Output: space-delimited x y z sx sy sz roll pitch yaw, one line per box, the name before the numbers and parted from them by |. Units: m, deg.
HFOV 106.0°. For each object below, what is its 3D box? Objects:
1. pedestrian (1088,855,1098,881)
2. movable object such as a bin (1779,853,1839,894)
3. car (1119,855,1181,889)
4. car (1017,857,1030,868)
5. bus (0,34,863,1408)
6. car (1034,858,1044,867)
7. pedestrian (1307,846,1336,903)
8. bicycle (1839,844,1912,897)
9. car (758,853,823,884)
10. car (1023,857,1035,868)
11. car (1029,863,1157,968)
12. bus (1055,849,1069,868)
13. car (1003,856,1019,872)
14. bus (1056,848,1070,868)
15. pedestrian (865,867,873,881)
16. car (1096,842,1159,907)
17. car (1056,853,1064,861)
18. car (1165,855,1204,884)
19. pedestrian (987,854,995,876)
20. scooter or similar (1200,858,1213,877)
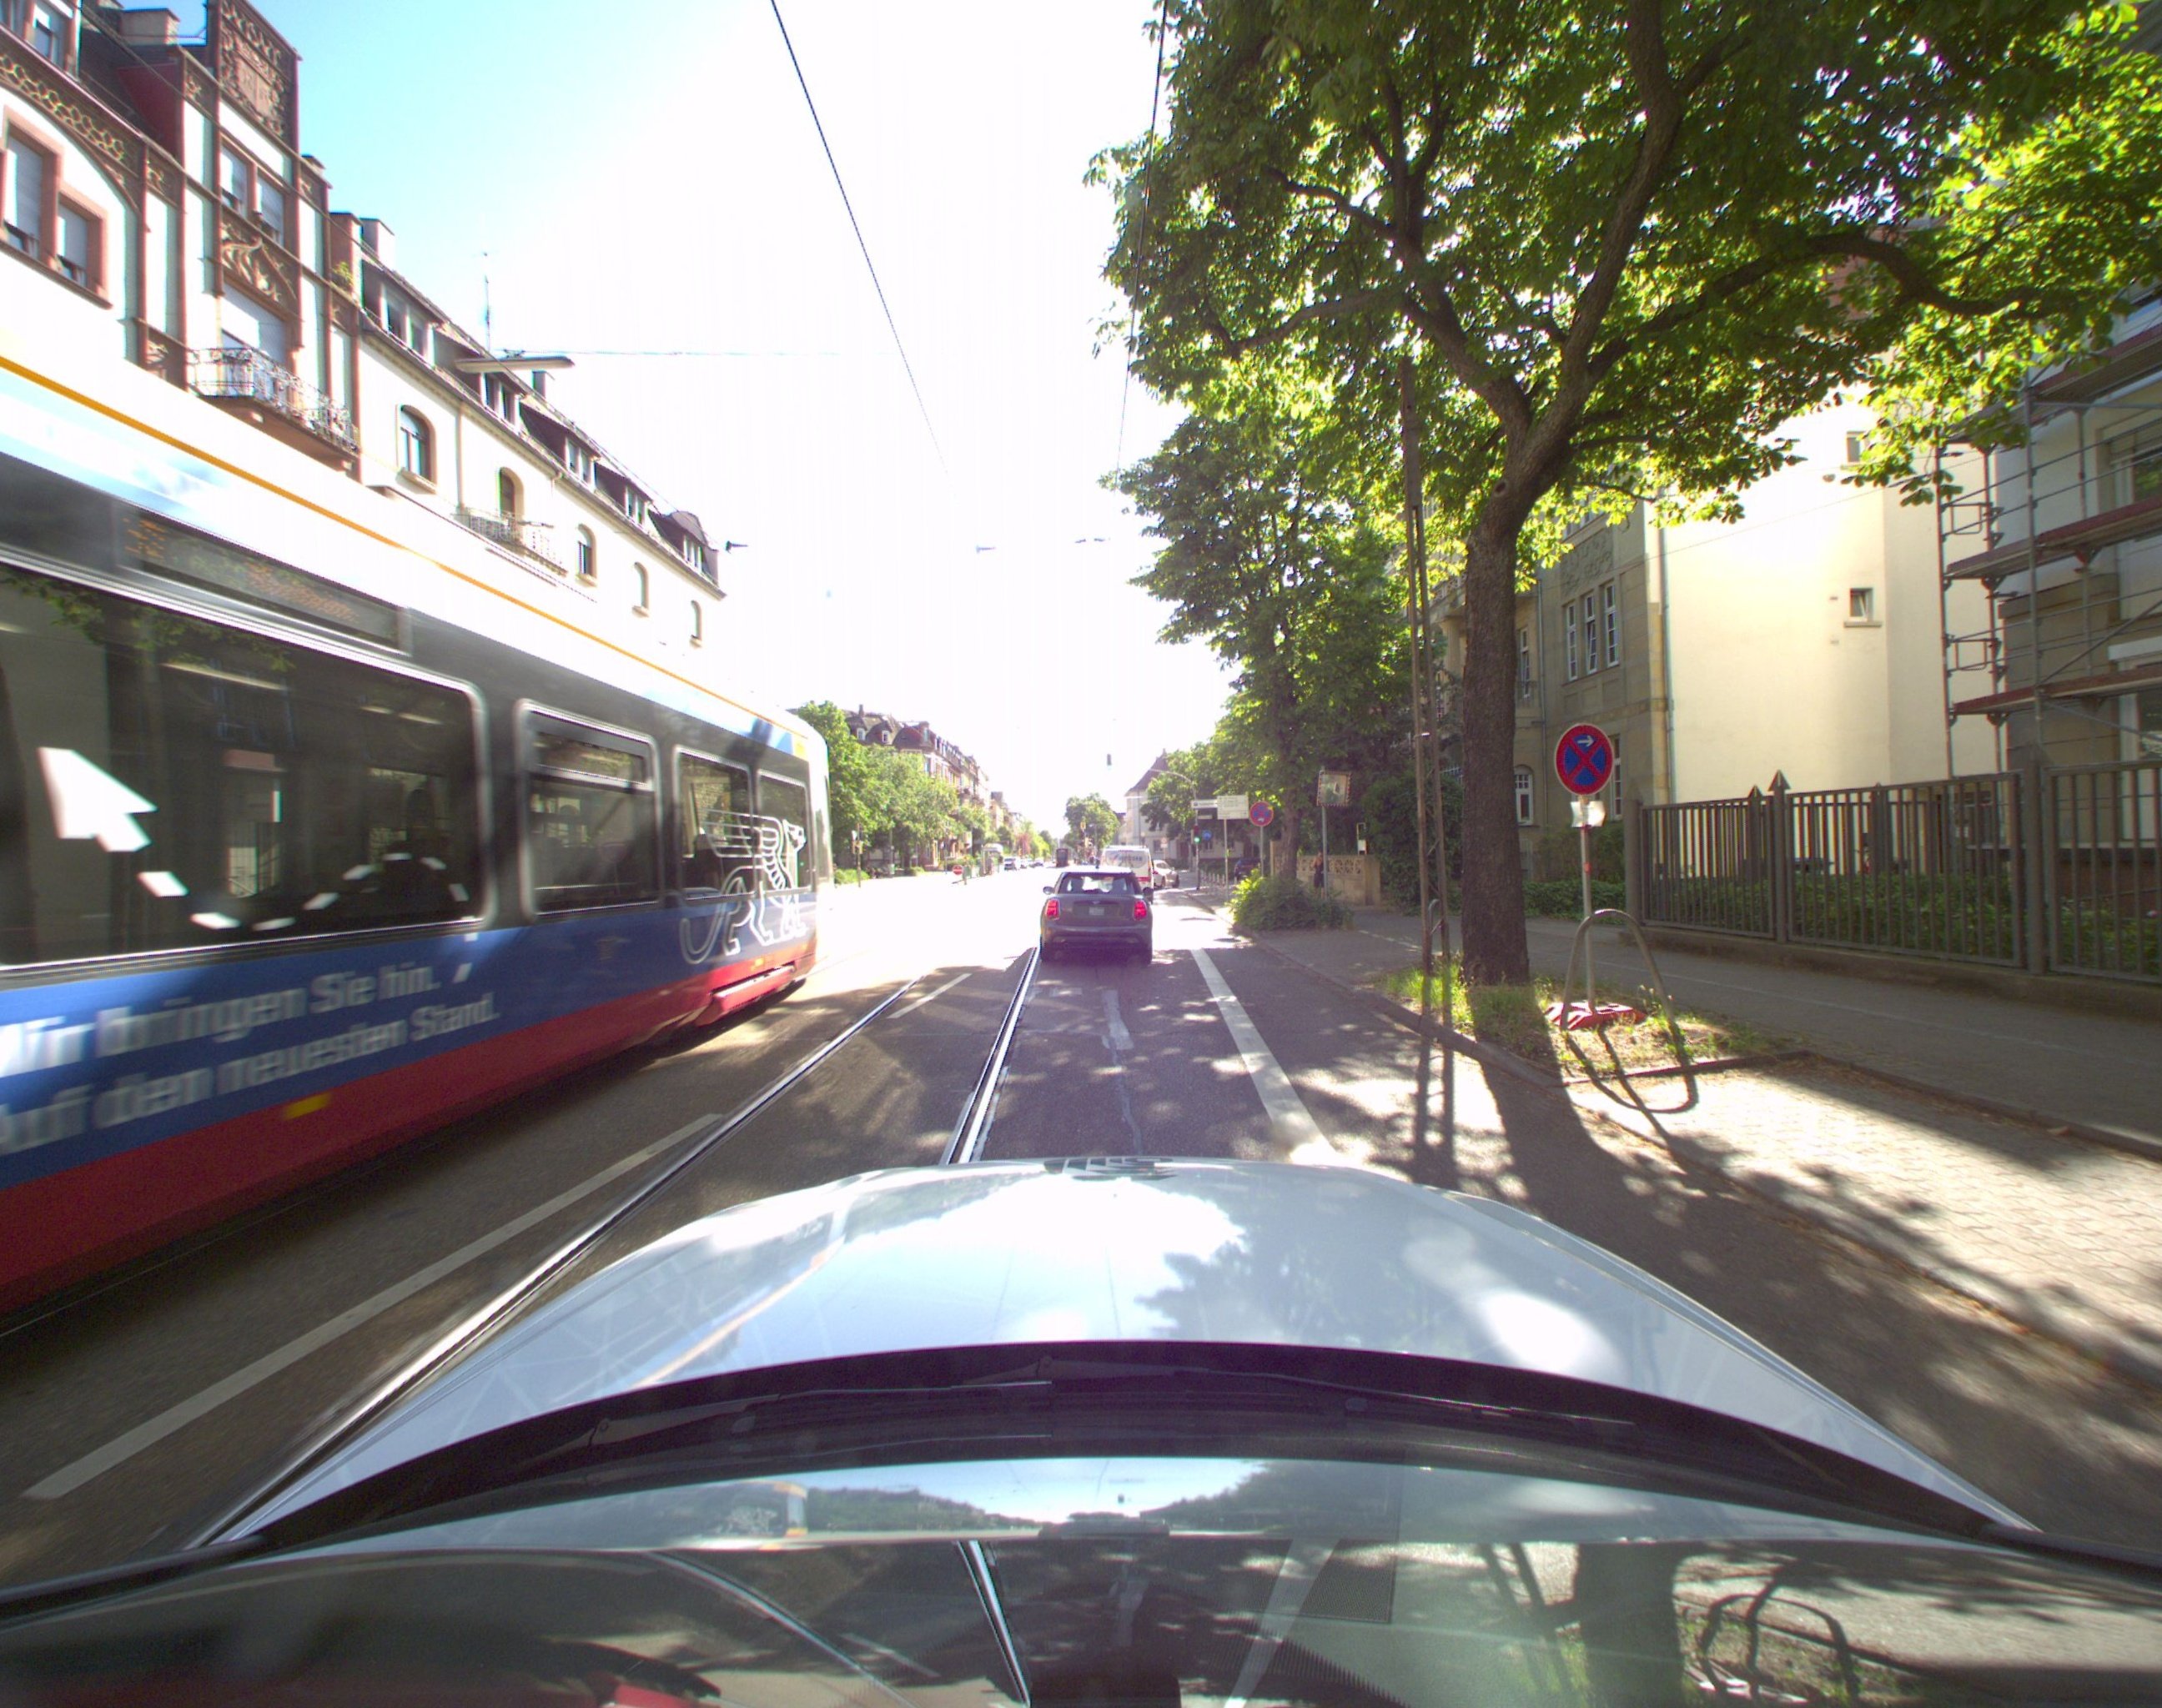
pedestrian | 0.930 1.054 62.306 0.793 2.014 0.740 0 -1 -1
movable object such as a bin | 17.230 0.466 19.296 0.831 0.955 0.648 0 -1 0
car | 3.527 0.889 40.914 1.976 1.618 4.021 -1 -1 22
car | -8.814 1.304 124.846 1.771 1.618 3.996 0 -1 -2
bus | -4.452 -0.311 5.558 2.842 3.777 12.190 0 -1 -1
car | -7.886 1.587 153.249 1.771 1.618 3.996 0 -1 -2
pedestrian | 7.215 0.617 24.455 0.590 1.671 0.647 -3 -1 1
bicycle | 18.526 0.383 18.995 1.697 1.199 0.434 0 -1 -17
car | -19.675 1.000 55.084 3.949 2.014 2.012 -1 -1 29
car | -8.464 1.398 132.052 1.771 1.618 3.996 0 -1 -2
car | 0.212 0.900 13.536 1.809 1.488 4.000 0 -1 1
bus | -3.664 0.839 154.283 2.380 3.497 7.375 0 -1 -3
car | -9.447 1.363 109.904 1.992 2.014 5.016 0 -1 -7
bus | -3.276 0.785 146.899 2.380 3.497 7.375 0 -1 -3
pedestrian | -18.034 1.685 69.158 0.579 1.202 0.603 -2 0 -21
car | 1.633 0.725 30.173 2.111 2.208 4.945 0 -1 1
car | -4.635 0.675 180.078 1.859 1.563 3.996 0 -1 -2
car | 6.309 0.967 50.024 1.986 1.706 4.001 0 -1 1
pedestrian | -7.458 0.939 67.494 0.579 1.795 0.604 -1 0 -17
scooter or similar | 8.622 0.943 55.949 0.674 1.310 1.328 0 -1 0
